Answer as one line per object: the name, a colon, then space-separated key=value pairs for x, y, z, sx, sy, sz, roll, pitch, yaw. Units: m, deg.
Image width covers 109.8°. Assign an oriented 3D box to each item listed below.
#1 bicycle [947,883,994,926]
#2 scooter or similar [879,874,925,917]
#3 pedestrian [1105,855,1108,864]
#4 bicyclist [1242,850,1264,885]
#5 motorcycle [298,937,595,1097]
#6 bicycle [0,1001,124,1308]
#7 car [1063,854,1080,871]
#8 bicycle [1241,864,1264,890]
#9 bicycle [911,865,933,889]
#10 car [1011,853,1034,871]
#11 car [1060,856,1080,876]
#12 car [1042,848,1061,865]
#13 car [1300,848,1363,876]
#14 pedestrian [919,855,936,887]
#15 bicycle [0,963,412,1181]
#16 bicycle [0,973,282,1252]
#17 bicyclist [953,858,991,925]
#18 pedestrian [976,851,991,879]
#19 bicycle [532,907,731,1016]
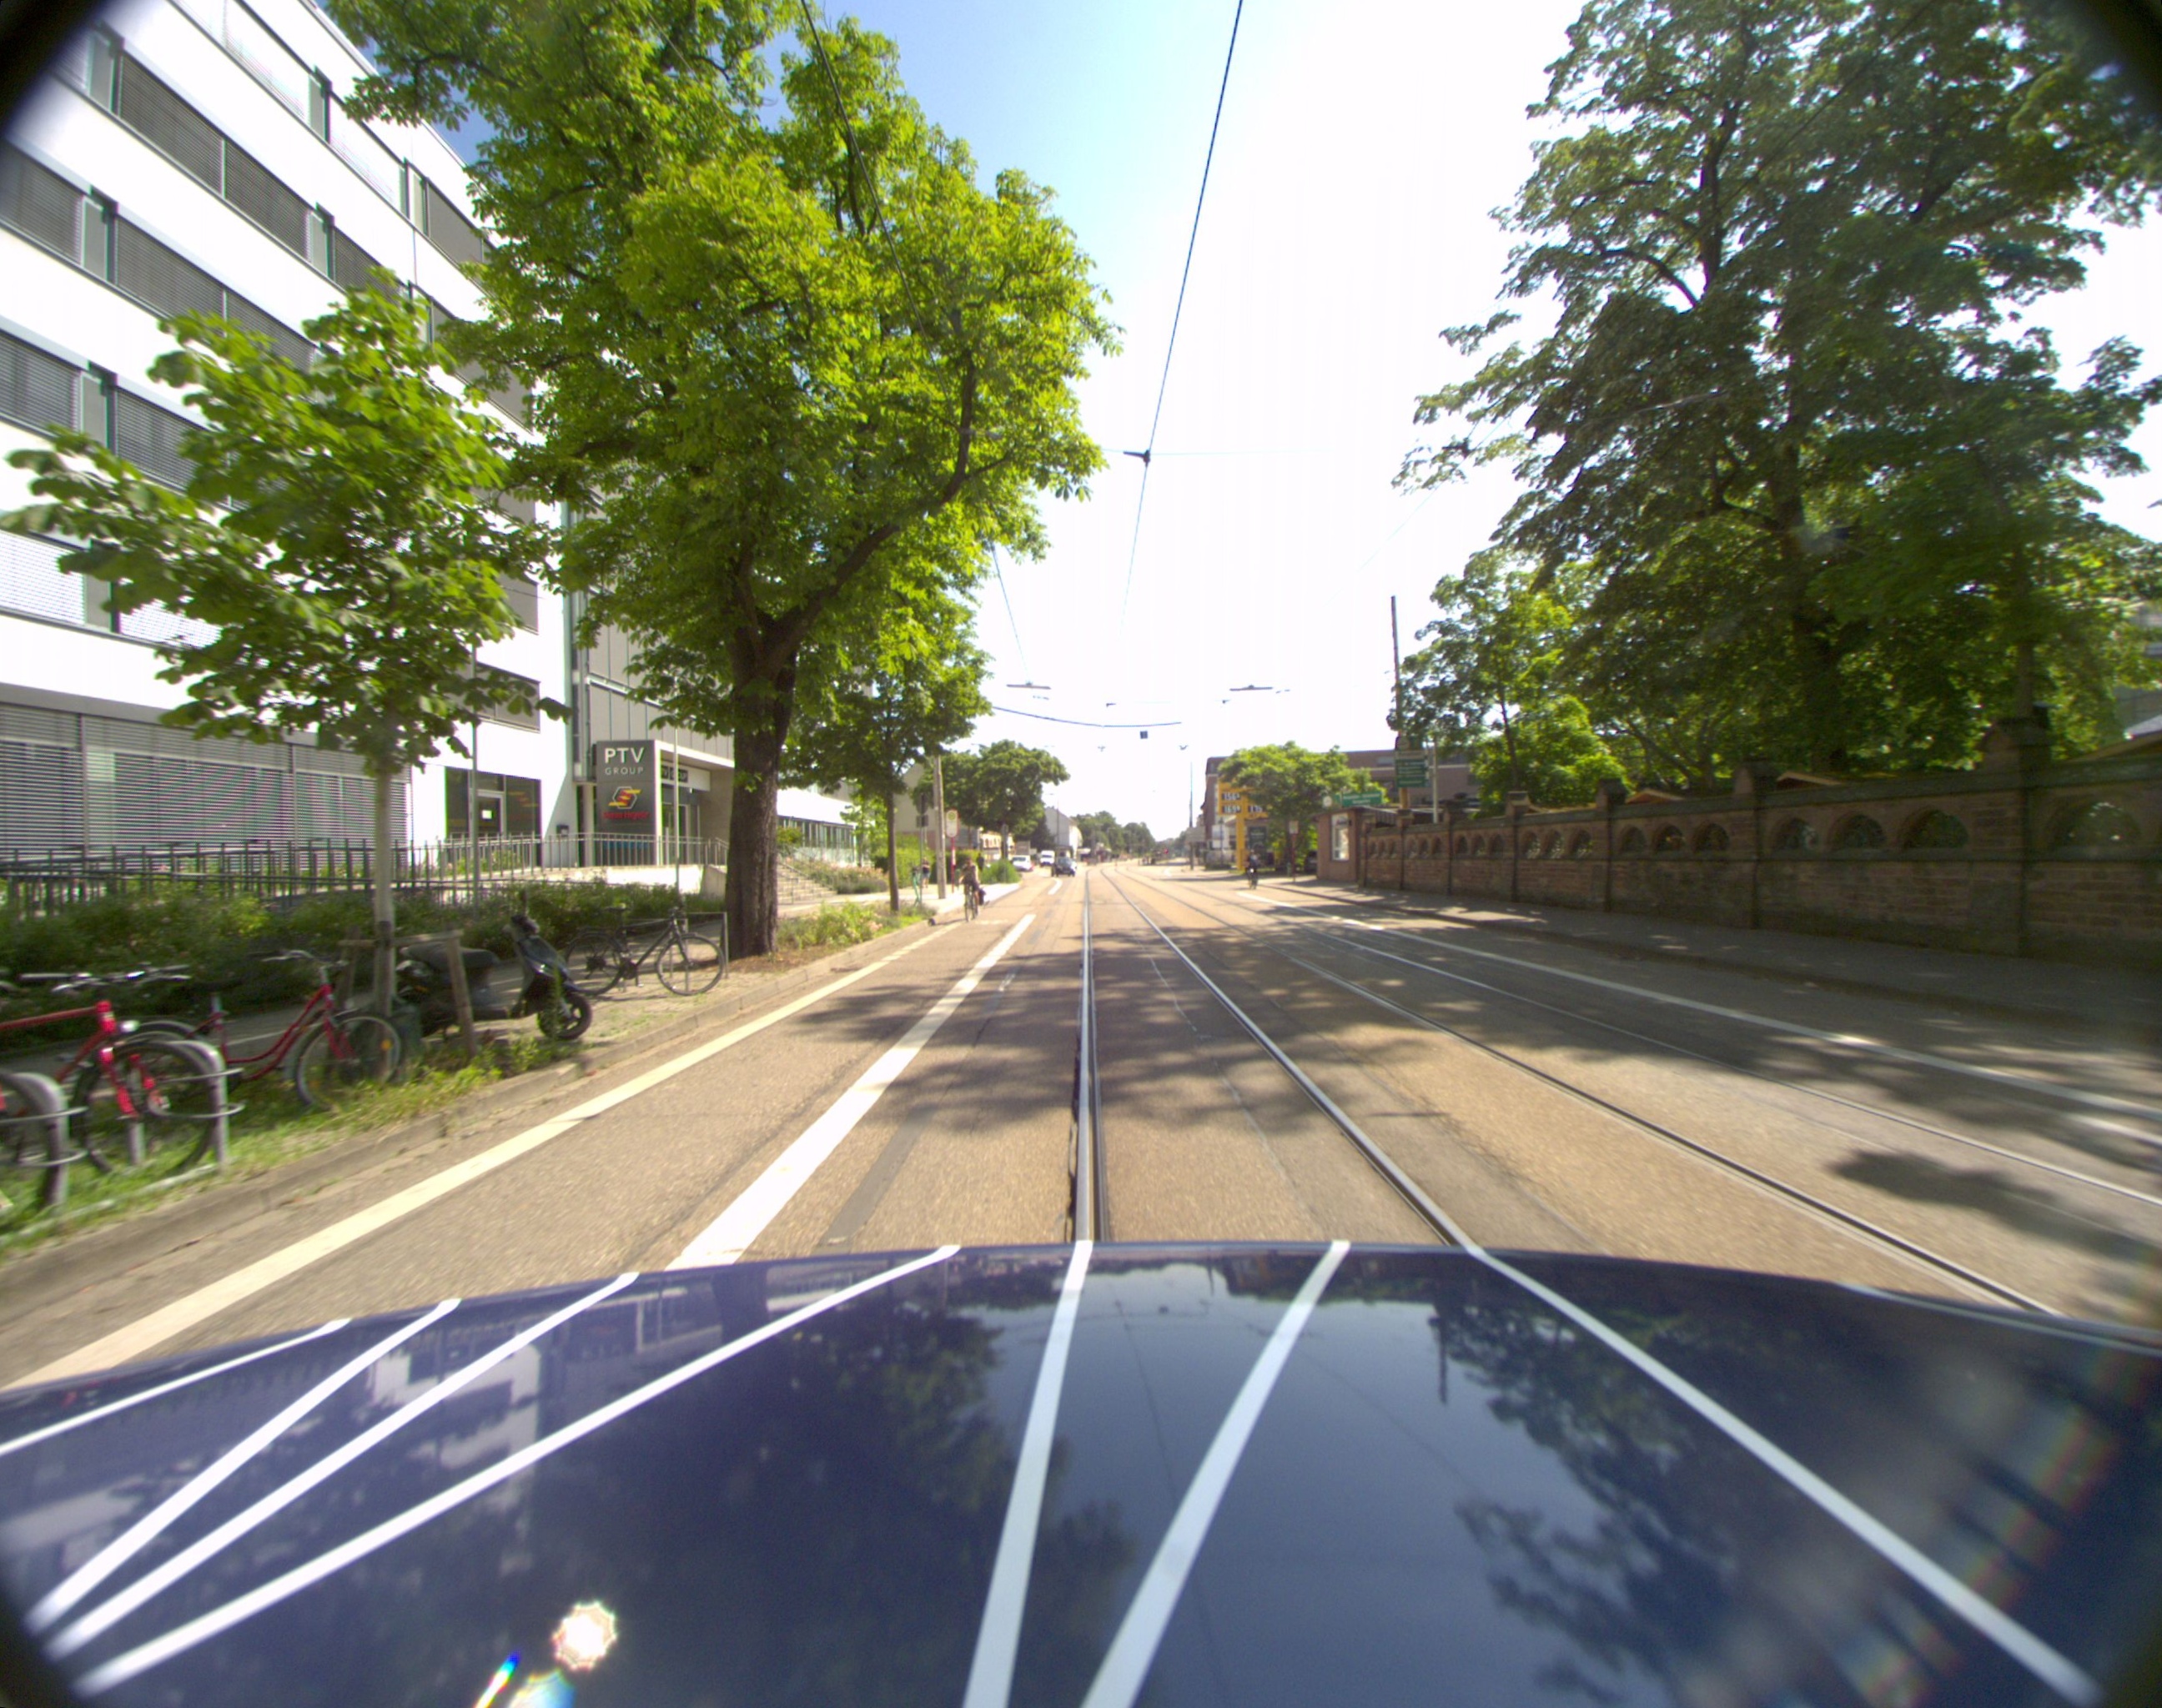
bicycle: x=-2.874 y=1.310 z=20.063 sx=0.609 sy=0.978 sz=2.165 roll=-2 pitch=0 yaw=8
scooter or similar: x=-5.114 y=1.181 z=21.776 sx=1.128 sy=1.159 sz=0.676 roll=-1 pitch=0 yaw=3
pedestrian: x=5.054 y=1.087 z=150.876 sx=0.707 sy=1.680 sz=0.416 roll=-1 pitch=0 yaw=0
bicyclist: x=7.688 y=0.606 z=33.932 sx=0.742 sy=1.522 sz=0.947 roll=-1 pitch=1 yaw=1
motorcycle: x=-4.863 y=1.232 z=5.901 sx=1.728 sy=1.080 sz=0.658 roll=-1 pitch=0 yaw=0
bicycle: x=-5.156 y=1.223 z=3.005 sx=1.853 sy=1.125 sz=0.680 roll=-1 pitch=0 yaw=0
car: x=-1.113 y=1.036 z=95.315 sx=1.998 sy=2.002 sz=4.000 roll=-1 pitch=0 yaw=1
bicycle: x=7.672 y=0.996 z=34.091 sx=0.593 sy=1.099 sz=2.054 roll=-1 pitch=0 yaw=1
bicycle: x=-7.873 y=1.110 z=37.659 sx=0.637 sy=1.111 sz=2.067 roll=-2 pitch=0 yaw=0
car: x=-6.739 y=0.880 z=87.999 sx=2.089 sy=2.002 sz=4.909 roll=0 pitch=0 yaw=2
car: x=-0.877 y=0.900 z=59.923 sx=1.478 sy=1.529 sz=2.975 roll=-1 pitch=0 yaw=-3
car: x=-4.563 y=0.417 z=117.992 sx=2.335 sy=2.521 sz=6.507 roll=1 pitch=0 yaw=2
car: x=16.226 y=0.503 z=49.104 sx=2.015 sy=1.631 sz=4.669 roll=-2 pitch=0 yaw=44
pedestrian: x=-7.595 y=0.820 z=37.706 sx=0.688 sy=1.554 sz=0.988 roll=0 pitch=0 yaw=-4
bicycle: x=-5.124 y=1.247 z=4.501 sx=1.728 sy=1.080 sz=0.639 roll=-1 pitch=0 yaw=0
bicycle: x=-5.099 y=1.175 z=3.614 sx=1.797 sy=1.080 sz=0.726 roll=-1 pitch=0 yaw=0
bicyclist: x=-2.872 y=0.967 z=20.031 sx=0.717 sy=1.714 sz=0.988 roll=-1 pitch=0 yaw=7
pedestrian: x=-6.468 y=0.699 z=50.505 sx=0.892 sy=1.807 sz=1.073 roll=-1 pitch=0 yaw=-6
bicycle: x=-4.983 y=1.177 z=8.509 sx=1.728 sy=1.080 sz=0.789 roll=-1 pitch=0 yaw=0
